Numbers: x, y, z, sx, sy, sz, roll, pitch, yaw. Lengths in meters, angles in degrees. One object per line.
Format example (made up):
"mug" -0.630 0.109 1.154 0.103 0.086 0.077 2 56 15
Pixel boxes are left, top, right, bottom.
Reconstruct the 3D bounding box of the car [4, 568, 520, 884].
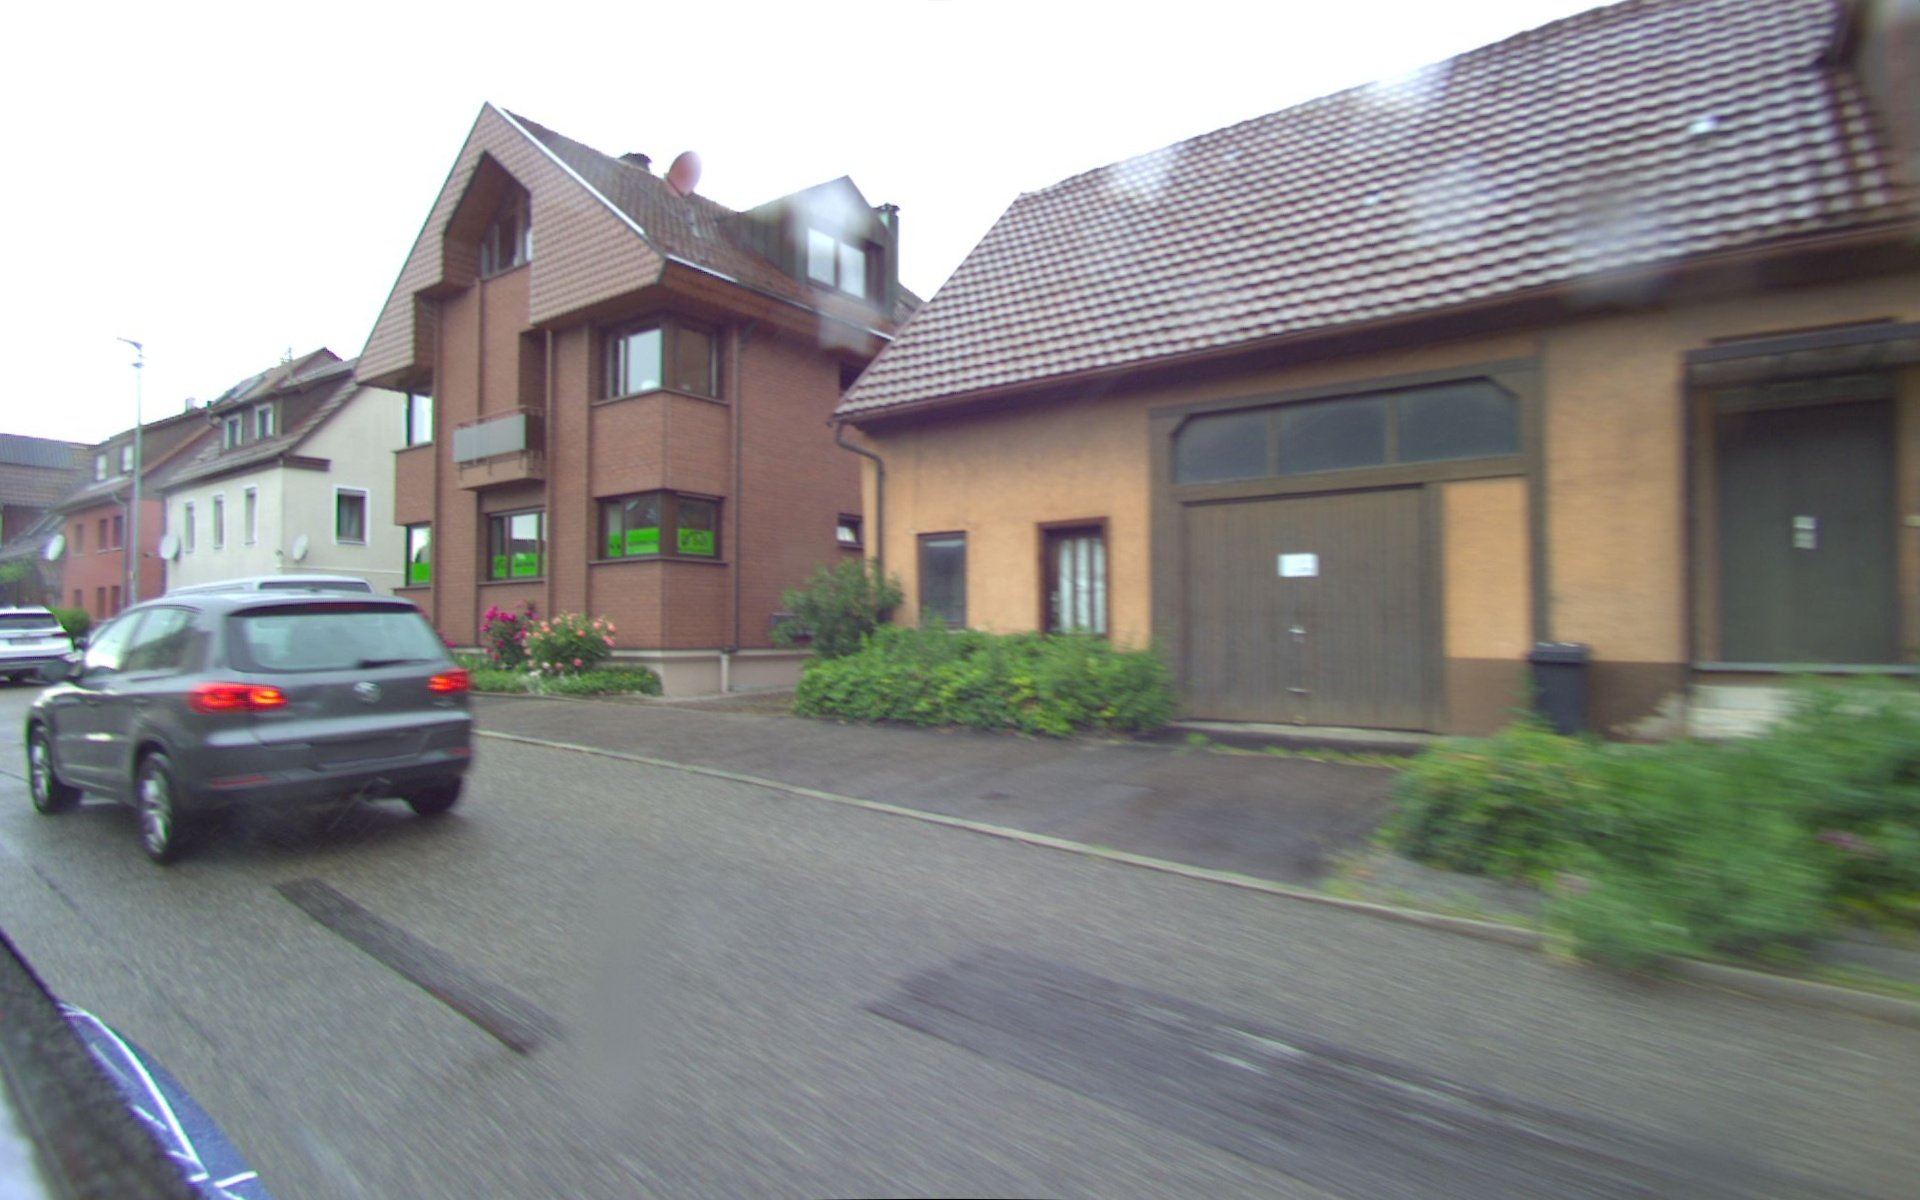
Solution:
"car" -5.079 0.712 7.209 3.992 1.653 1.782 -1 -2 36

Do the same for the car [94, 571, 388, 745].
"car" -10.117 0.738 14.072 5.205 2.029 1.805 -1 -2 37

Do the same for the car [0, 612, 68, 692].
"car" -21.550 1.105 22.277 4.644 1.631 1.750 -1 -2 34

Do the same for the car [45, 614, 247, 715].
"car" -13.602 1.017 16.872 3.556 1.508 1.566 -1 -2 33

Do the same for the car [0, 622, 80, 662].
"car" -35.522 1.570 38.029 1.587 1.490 3.431 -1 -2 35
